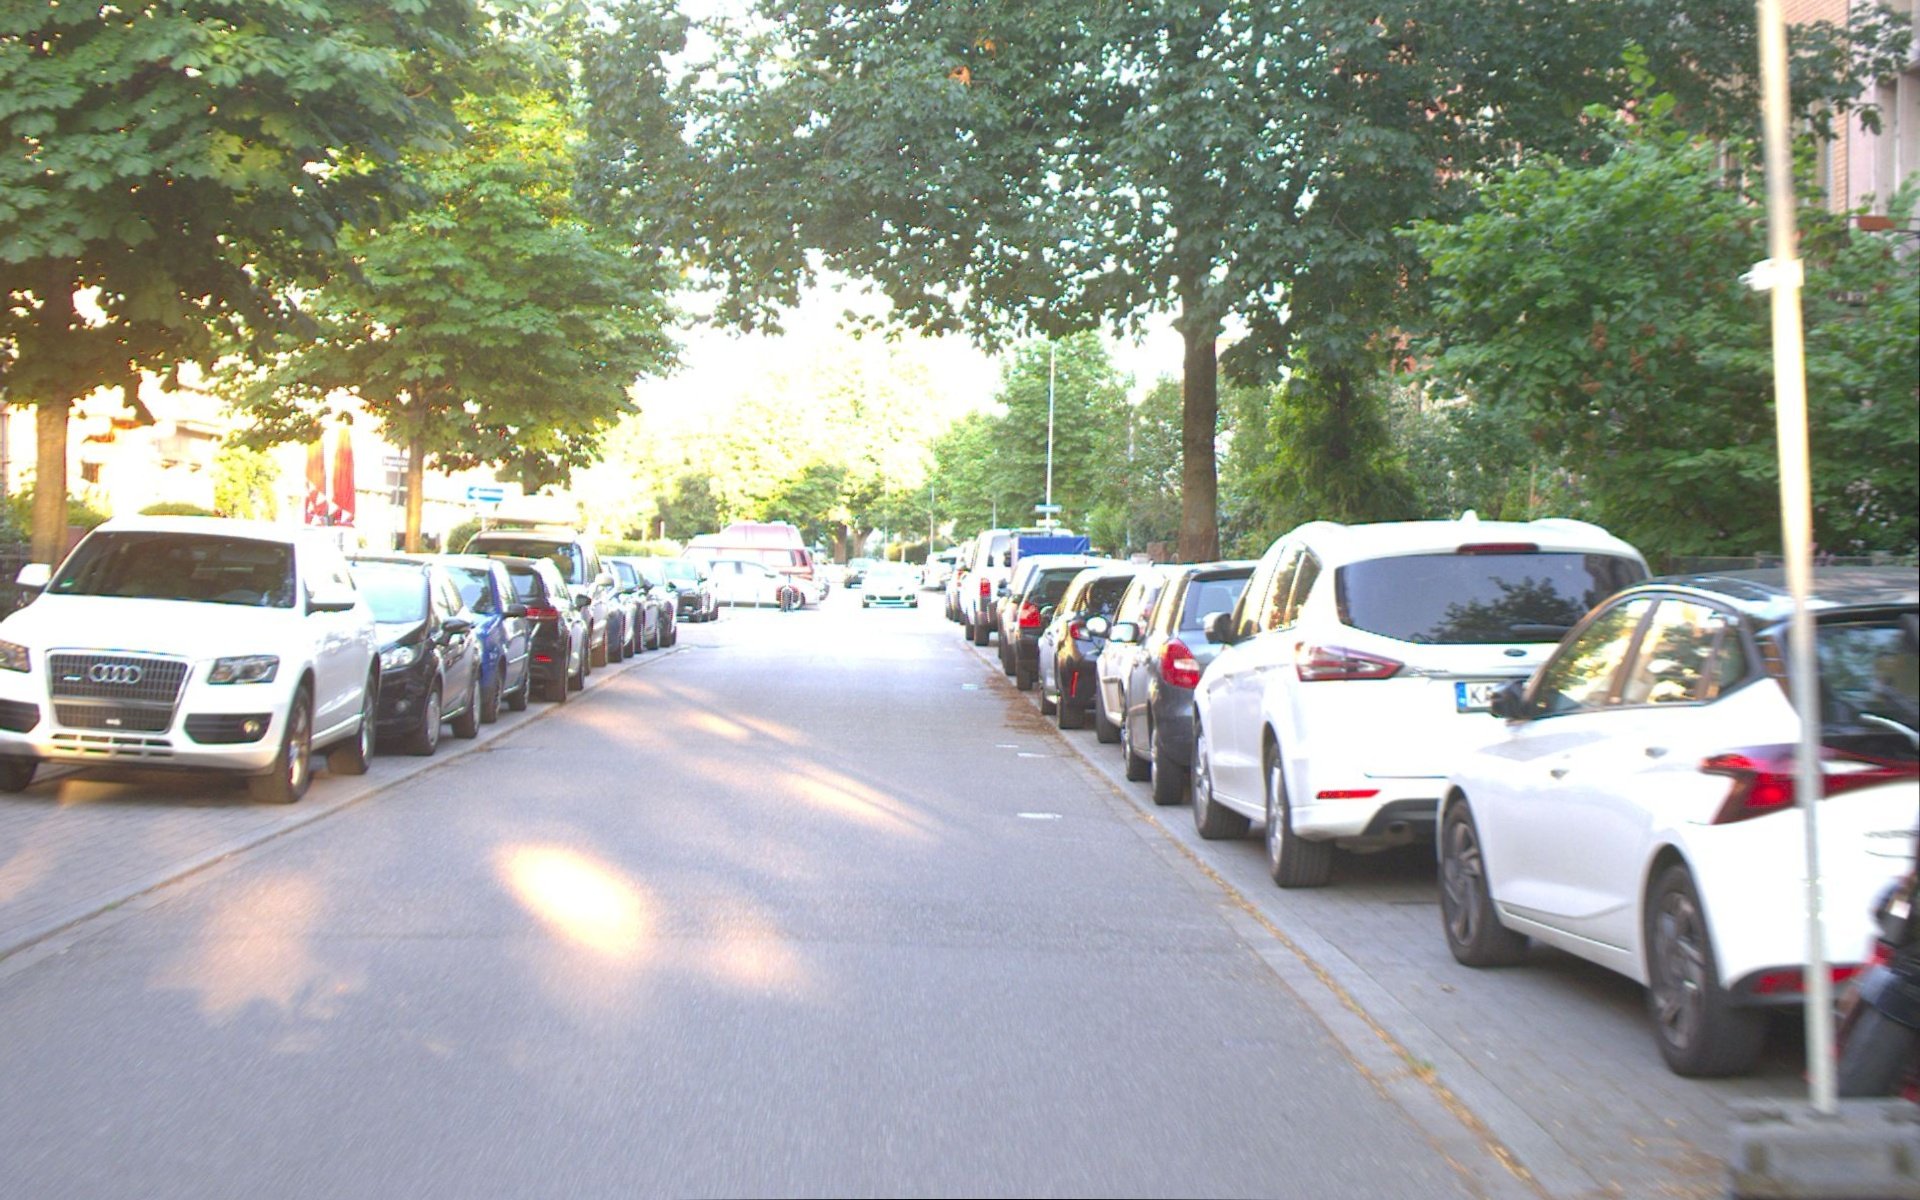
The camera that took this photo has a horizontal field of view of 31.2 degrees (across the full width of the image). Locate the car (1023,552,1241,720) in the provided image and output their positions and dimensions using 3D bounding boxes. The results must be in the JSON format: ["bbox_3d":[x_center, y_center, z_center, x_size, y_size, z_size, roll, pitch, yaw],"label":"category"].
[{"bbox_3d":[1.527,0.288,31.871,1.686,1.436,4.210,-1,1,-2],"label":"car"}]

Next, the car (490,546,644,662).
[{"bbox_3d":[-5.344,0.023,47.129,1.715,1.460,3.987,1,1,-1],"label":"car"}]

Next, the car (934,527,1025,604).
[{"bbox_3d":[0.399,-0.758,75.728,1.686,1.600,3.940,1,1,-4],"label":"car"}]

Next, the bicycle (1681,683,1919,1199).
[{"bbox_3d":[1.992,0.795,7.568,0.444,1.169,1.634,2,1,24],"label":"bicycle"}]

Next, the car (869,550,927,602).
[{"bbox_3d":[-2.027,-0.798,111.972,1.813,1.590,3.483,1,1,-1],"label":"car"}]

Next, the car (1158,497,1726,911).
[{"bbox_3d":[2.141,0.410,16.593,1.798,1.705,4.602,1,1,-4],"label":"car"}]

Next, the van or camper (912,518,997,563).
[{"bbox_3d":[-0.344,-3.880,223.842,5.262,2.782,1.552,1,1,-12],"label":"van or camper"}]

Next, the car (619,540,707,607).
[{"bbox_3d":[-6.861,-0.600,79.643,1.715,1.481,3.630,1,0,0],"label":"car"}]

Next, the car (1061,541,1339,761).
[{"bbox_3d":[1.845,0.357,27.445,1.686,1.600,3.749,1,1,-4],"label":"car"}]

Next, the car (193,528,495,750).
[{"bbox_3d":[-4.706,0.270,26.723,1.715,1.561,3.781,1,0,-1],"label":"car"}]

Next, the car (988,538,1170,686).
[{"bbox_3d":[1.332,0.114,39.958,1.686,1.600,3.940,1,1,-4],"label":"car"}]

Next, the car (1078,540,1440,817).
[{"bbox_3d":[1.841,0.441,22.393,1.686,1.600,4.210,1,1,-4],"label":"car"}]

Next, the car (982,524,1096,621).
[{"bbox_3d":[1.273,-0.459,56.441,1.538,1.516,3.432,1,1,-4],"label":"car"}]

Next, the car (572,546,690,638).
[{"bbox_3d":[-5.463,-0.159,57.396,1.599,1.436,3.838,1,1,0],"label":"car"}]

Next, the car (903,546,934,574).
[{"bbox_3d":[-2.411,-2.329,199.349,1.715,1.590,3.483,1,1,-1],"label":"car"}]

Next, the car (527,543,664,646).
[{"bbox_3d":[-5.419,-0.109,51.430,1.715,1.436,3.631,1,1,-1],"label":"car"}]

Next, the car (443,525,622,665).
[{"bbox_3d":[-5.235,-0.097,42.559,1.715,1.590,4.519,1,1,-1],"label":"car"}]

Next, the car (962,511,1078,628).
[{"bbox_3d":[1.019,-0.542,60.207,1.680,1.934,3.881,1,1,-4],"label":"car"}]

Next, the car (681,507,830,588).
[{"bbox_3d":[-6.095,-1.572,102.527,4.349,2.310,1.746,1,1,-2],"label":"car"}]

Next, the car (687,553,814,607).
[{"bbox_3d":[-6.091,-0.574,99.809,3.618,1.456,1.607,1,1,-5],"label":"car"}]

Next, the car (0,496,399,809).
[{"bbox_3d":[-4.790,0.243,21.408,1.921,1.711,4.428,1,1,-1],"label":"car"}]

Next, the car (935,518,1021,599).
[{"bbox_3d":[0.395,-0.965,80.650,1.686,1.805,3.940,1,1,-4],"label":"car"}]

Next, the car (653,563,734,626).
[{"bbox_3d":[-6.591,-0.149,85.228,1.715,1.436,3.631,1,1,0],"label":"car"}]

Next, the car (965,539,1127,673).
[{"bbox_3d":[1.063,0.050,44.179,1.686,1.600,3.940,1,1,-4],"label":"car"}]

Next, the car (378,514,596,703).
[{"bbox_3d":[-4.798,0.039,35.352,1.715,1.784,4.216,1,1,-1],"label":"car"}]

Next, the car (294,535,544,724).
[{"bbox_3d":[-4.842,0.219,31.195,1.715,1.561,3.788,1,1,-1],"label":"car"}]
